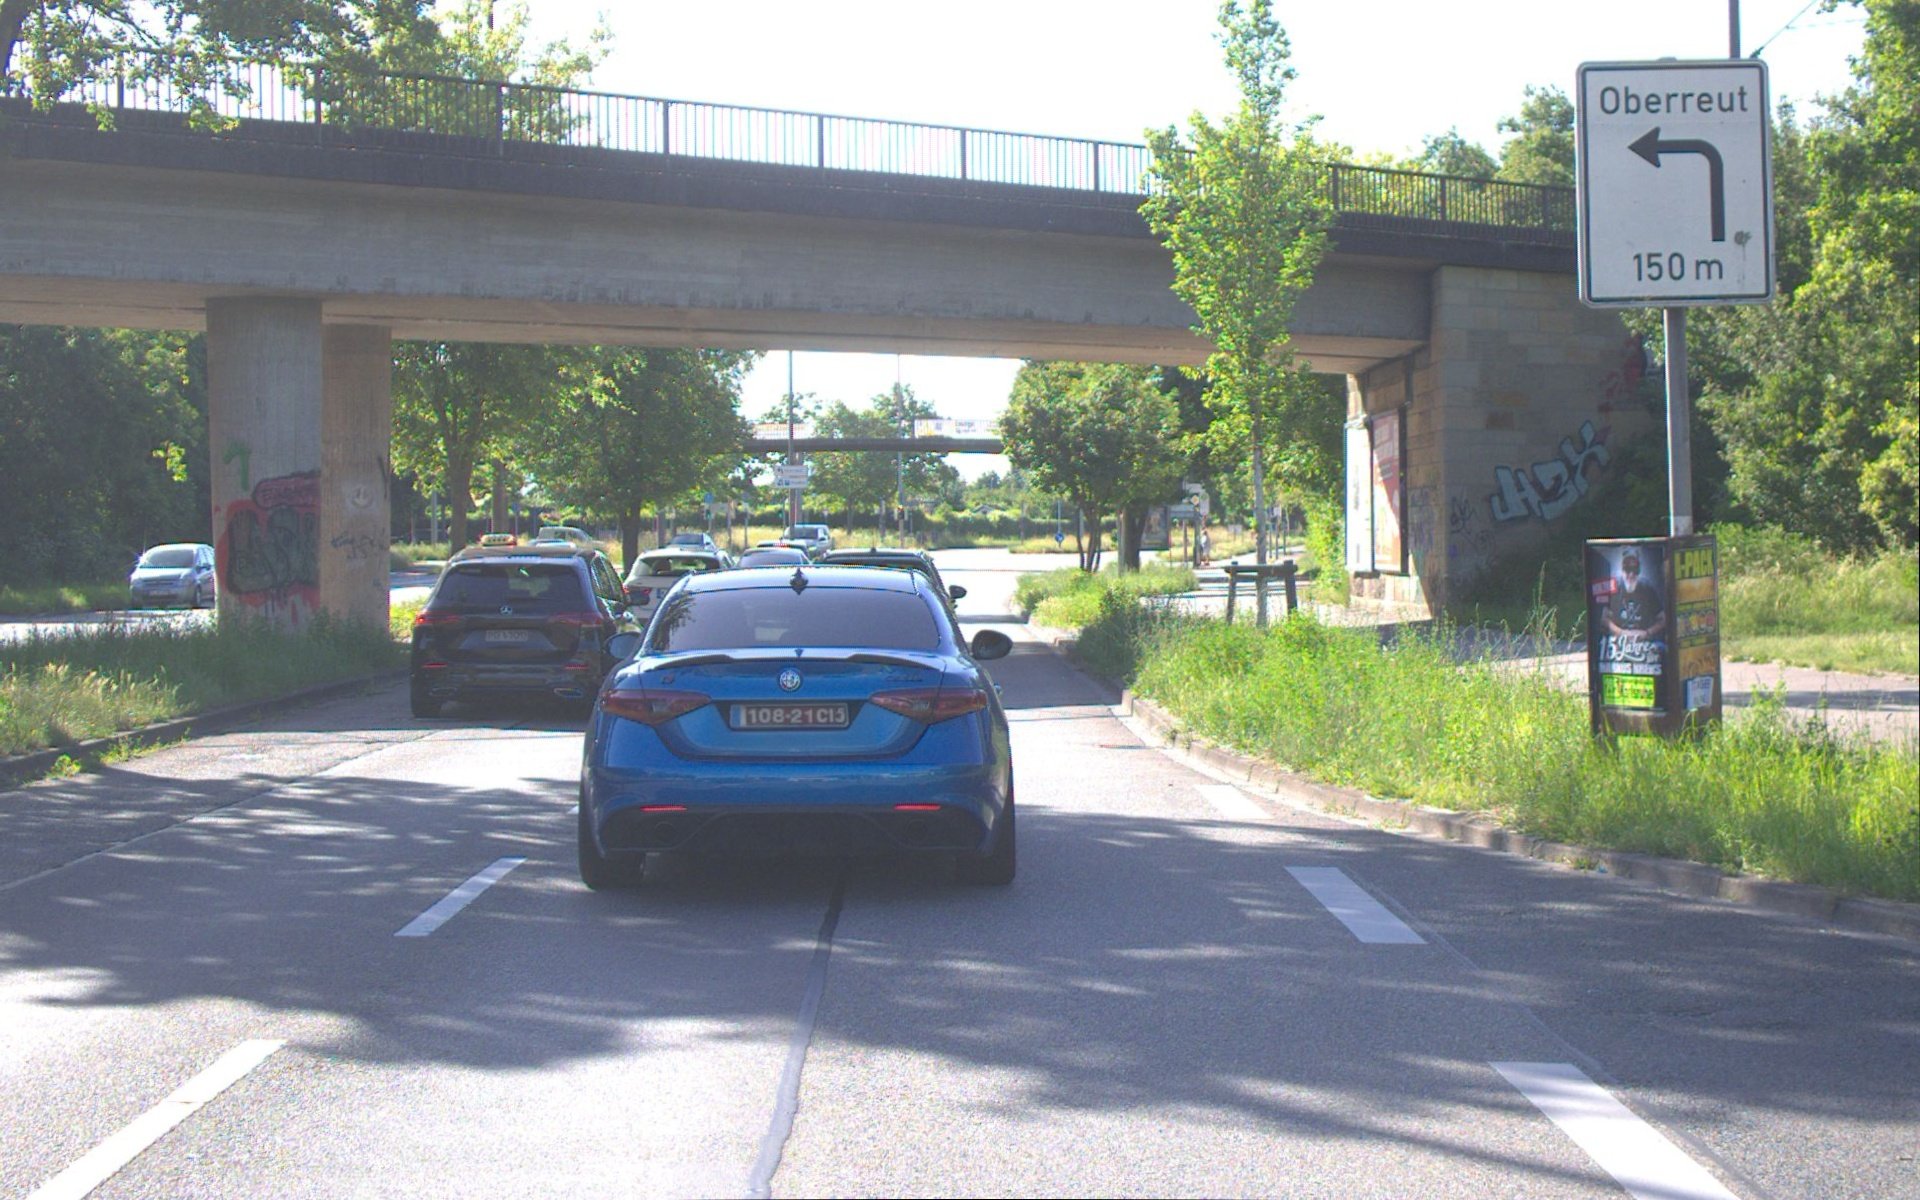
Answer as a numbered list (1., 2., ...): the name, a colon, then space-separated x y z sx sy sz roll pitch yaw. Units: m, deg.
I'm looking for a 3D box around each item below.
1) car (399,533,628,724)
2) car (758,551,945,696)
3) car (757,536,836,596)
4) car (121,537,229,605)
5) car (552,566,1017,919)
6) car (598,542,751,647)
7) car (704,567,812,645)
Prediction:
1. car: -3.976 0.215 31.141 1.707 1.592 4.224 1 1 -3
2. car: -1.118 0.211 37.330 1.883 1.449 4.526 1 1 0
3. car: -4.054 -0.864 85.572 1.779 1.449 4.182 -1 1 0
4. car: -19.743 -0.743 86.573 1.729 1.611 4.179 -2 1 0
5. car: -0.730 0.563 16.169 1.883 1.401 4.224 1 1 0
6. car: -4.146 -0.108 50.584 1.883 1.449 4.526 1 1 0
7. car: -3.959 0.098 68.003 1.883 1.449 4.526 1 1 0
